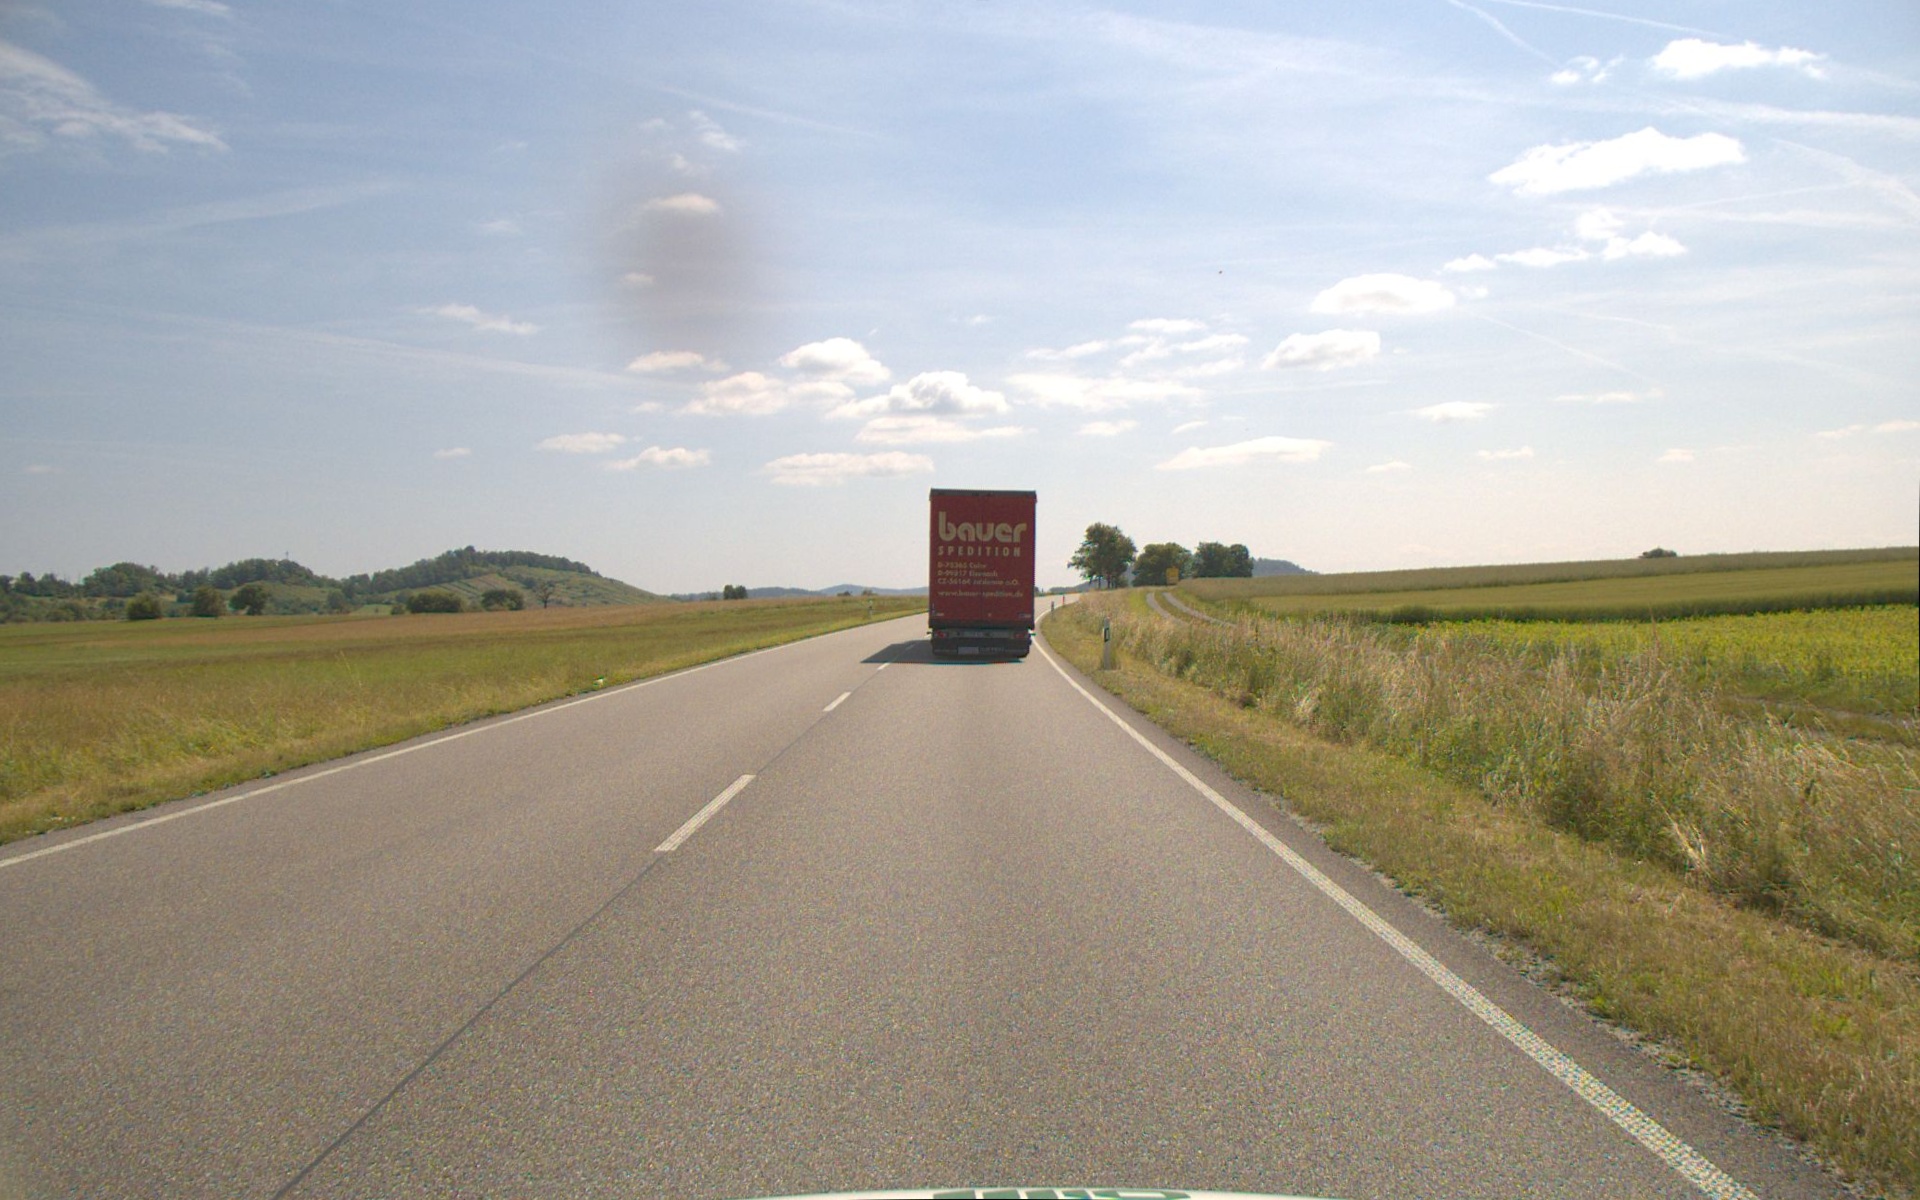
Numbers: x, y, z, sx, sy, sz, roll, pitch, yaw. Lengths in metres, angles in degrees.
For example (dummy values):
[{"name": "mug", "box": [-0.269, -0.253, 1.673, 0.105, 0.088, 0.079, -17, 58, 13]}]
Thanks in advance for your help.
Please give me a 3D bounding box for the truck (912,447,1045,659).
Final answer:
[{"name": "truck", "box": [0.451, -1.098, 43.025, 2.914, 4.795, 9.366, 2, 0, 0]}]
